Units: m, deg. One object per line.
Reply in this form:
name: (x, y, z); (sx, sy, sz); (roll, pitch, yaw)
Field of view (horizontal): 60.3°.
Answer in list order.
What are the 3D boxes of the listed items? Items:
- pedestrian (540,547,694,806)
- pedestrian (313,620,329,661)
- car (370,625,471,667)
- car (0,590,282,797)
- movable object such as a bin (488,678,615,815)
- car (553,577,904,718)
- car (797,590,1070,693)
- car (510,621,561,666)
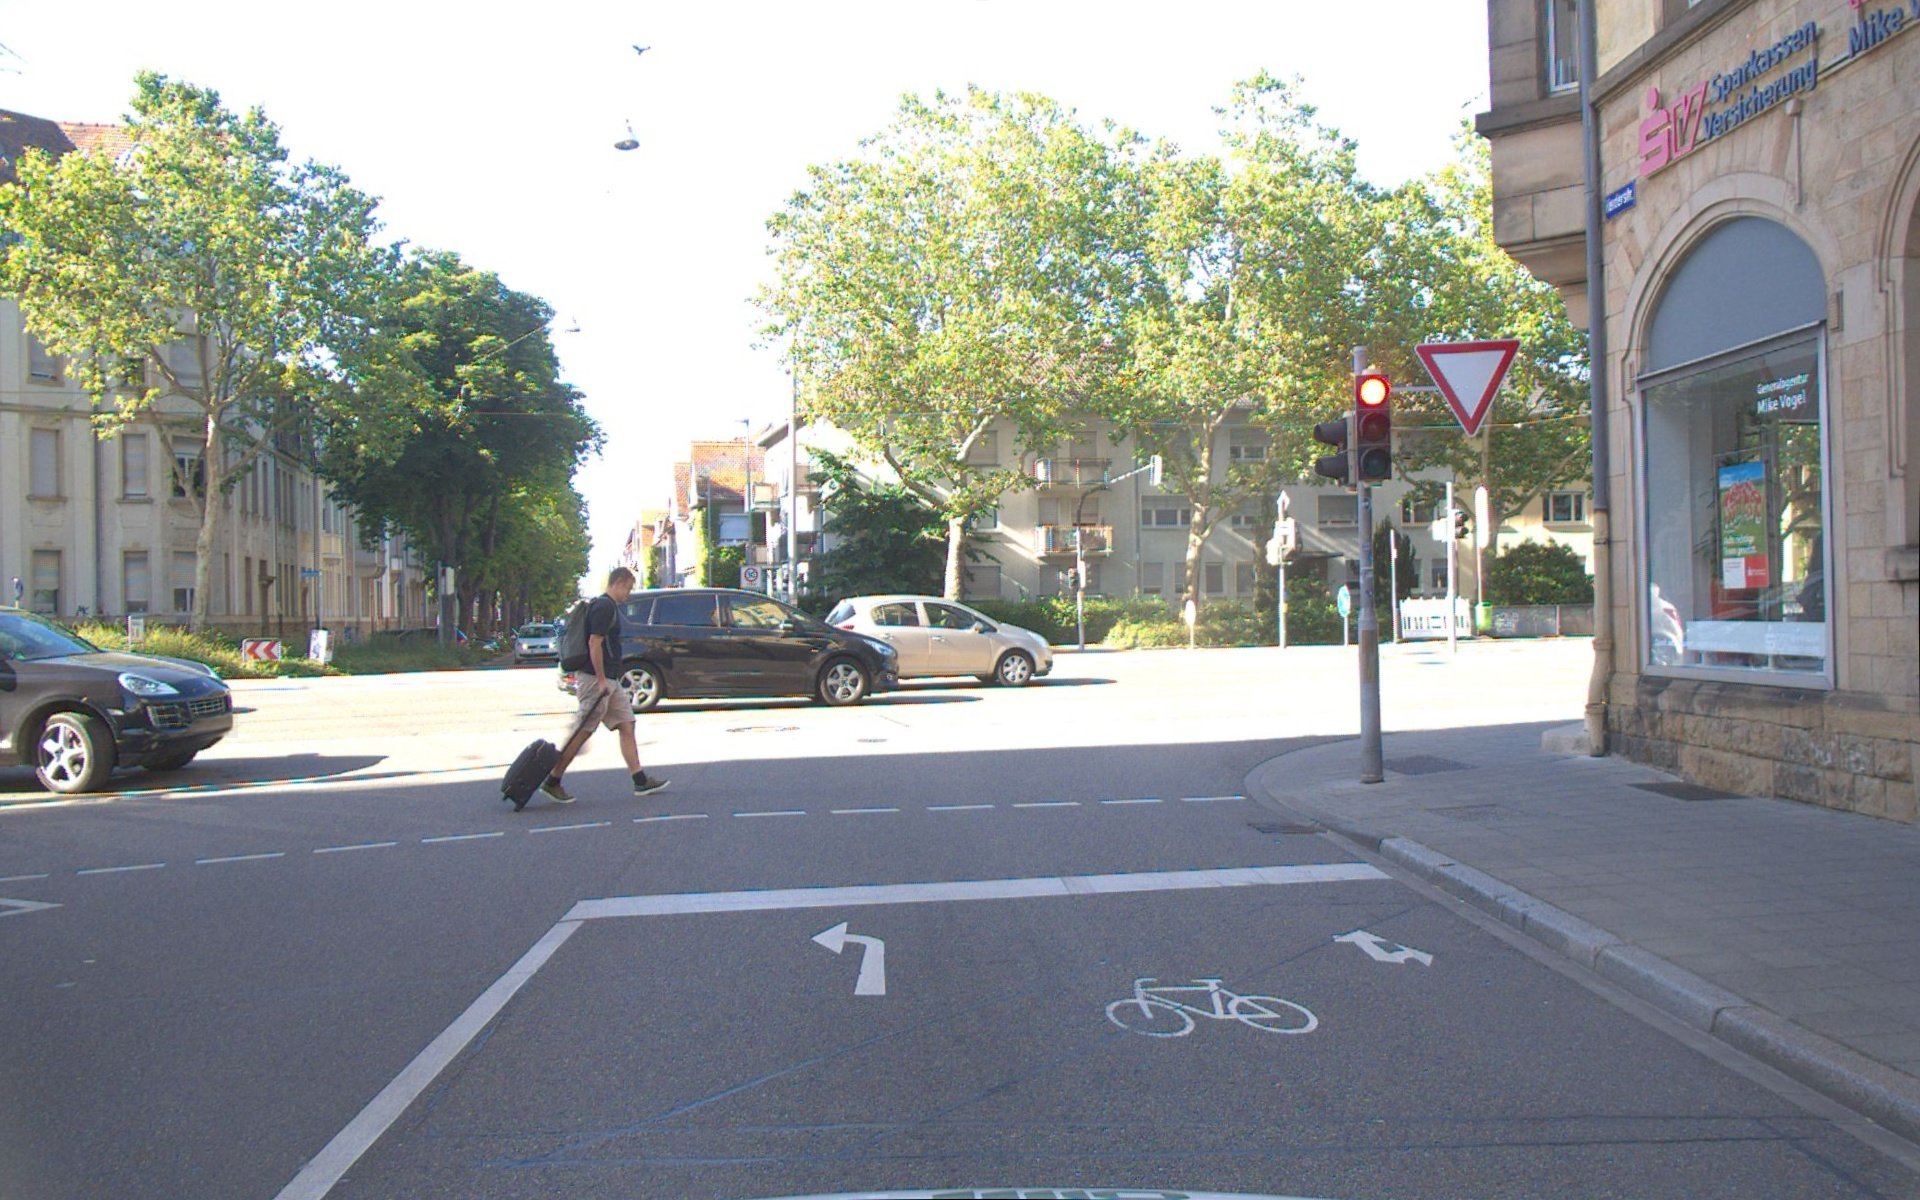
pedestrian: (-2.642, 0.565, 12.738); (1.047, 1.881, 0.746); (-3, 0, -13)
pedestrian: (-23.361, 1.486, 60.463); (0.480, 1.467, 0.702); (1, -1, -16)
car: (-20.445, 1.737, 62.803); (3.572, 1.483, 1.650); (-1, 0, -16)
car: (-9.118, 0.845, 15.517); (4.598, 1.723, 2.079); (-1, 2, -2)
movable object such as a bin: (-3.023, 1.077, 12.283); (0.847, 0.907, 0.508); (-3, 0, -13)
car: (-3.223, 0.609, 22.916); (4.586, 1.693, 1.722); (-2, 0, -17)
car: (-0.449, 0.636, 26.900); (4.136, 1.482, 1.670); (-2, 1, -18)
car: (-16.165, 1.636, 63.075); (1.669, 1.509, 3.523); (-3, 1, -12)
